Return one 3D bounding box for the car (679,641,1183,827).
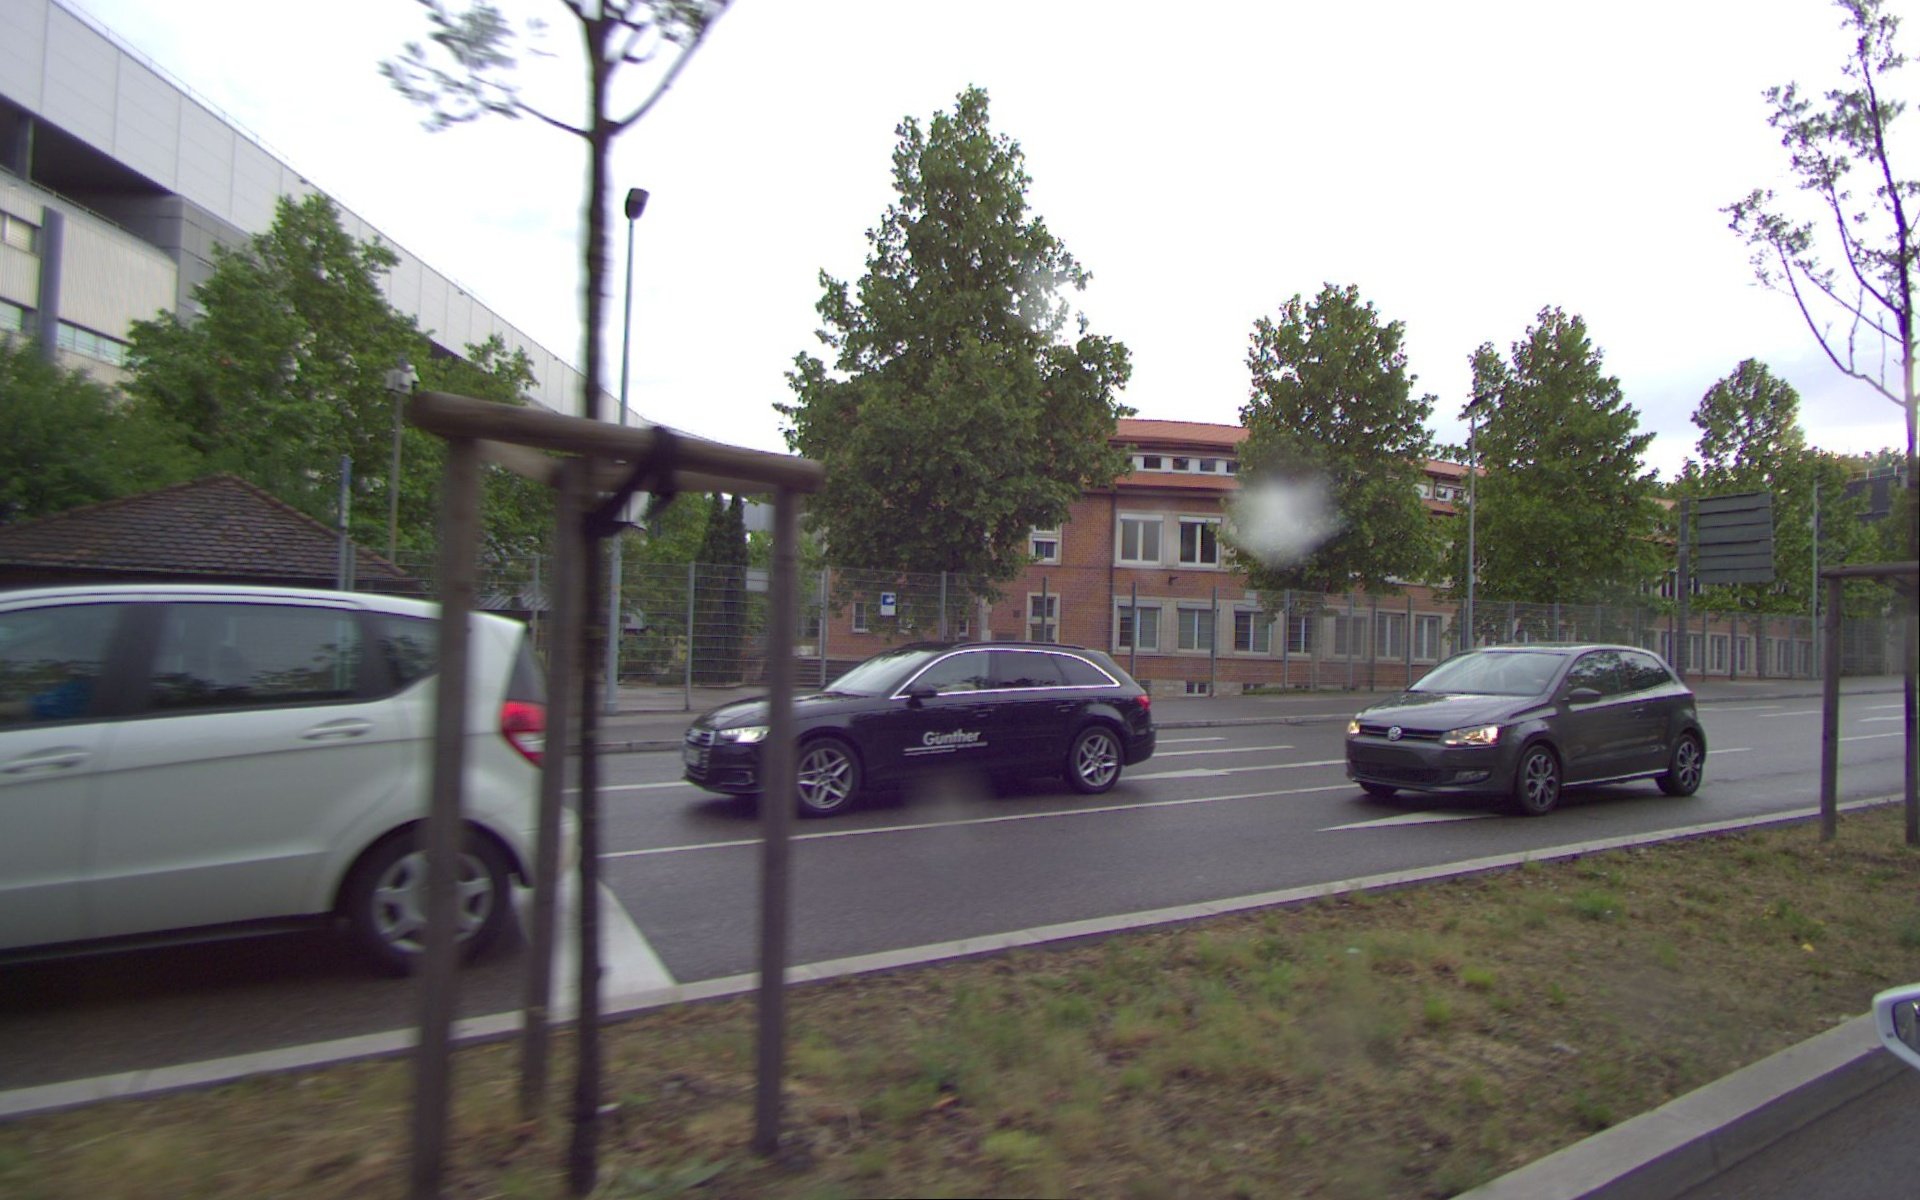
[{"bbox_3d":[-0.179,1.127,9.633,4.560,1.422,1.765,2,-3,-30],"label":"car"}]

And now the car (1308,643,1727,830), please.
[{"bbox_3d":[5.267,1.130,9.373,4.063,1.422,1.570,2,-3,-30],"label":"car"}]

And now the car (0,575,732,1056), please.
[{"bbox_3d":[-3.404,0.766,4.293,4.430,1.610,1.764,2,-3,-29],"label":"car"}]
